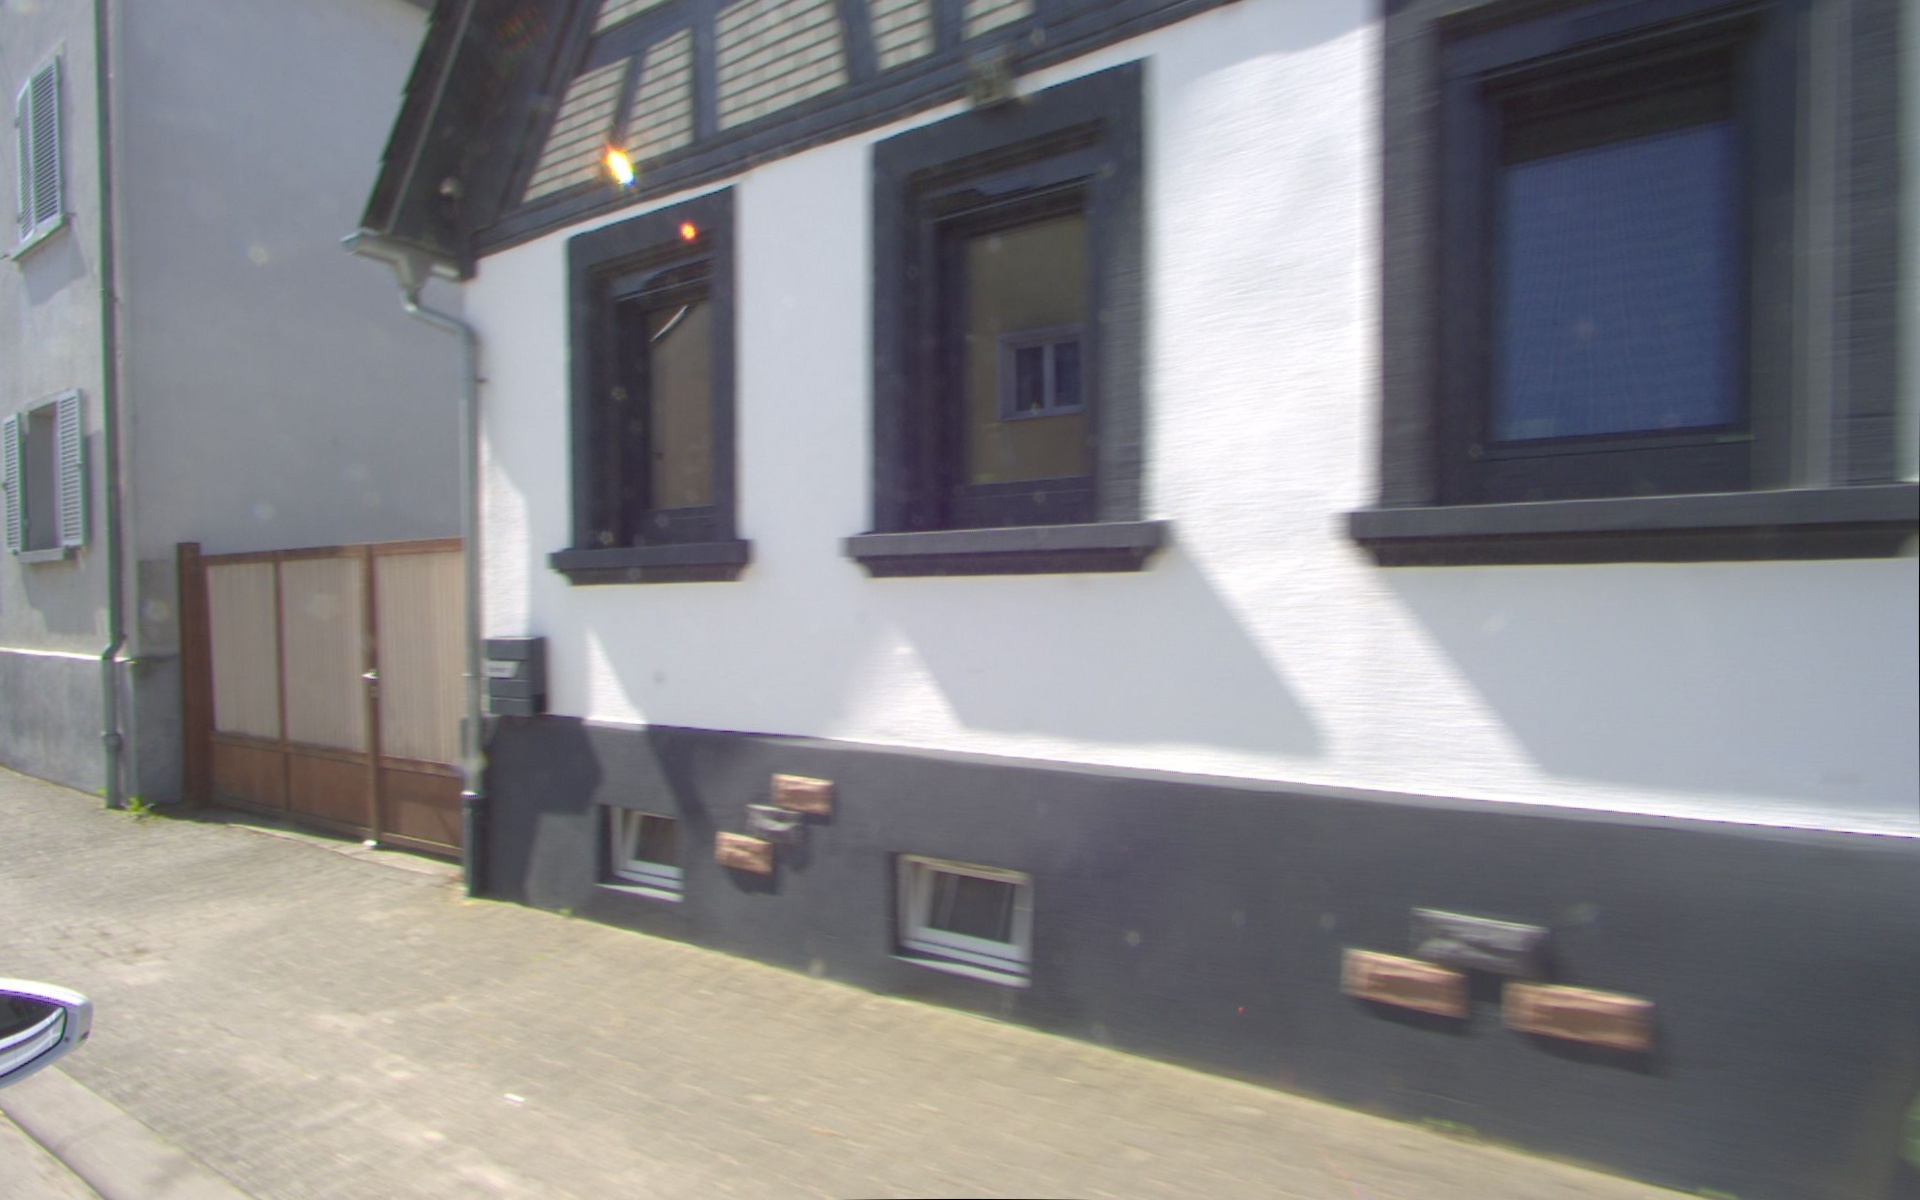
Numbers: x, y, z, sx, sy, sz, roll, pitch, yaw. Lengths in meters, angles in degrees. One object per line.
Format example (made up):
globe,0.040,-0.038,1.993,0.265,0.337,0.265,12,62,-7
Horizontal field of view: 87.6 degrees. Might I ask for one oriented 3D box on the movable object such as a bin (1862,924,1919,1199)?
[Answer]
movable object such as a bin,1.421,0.933,1.122,0.533,0.926,0.547,-1,1,-40
